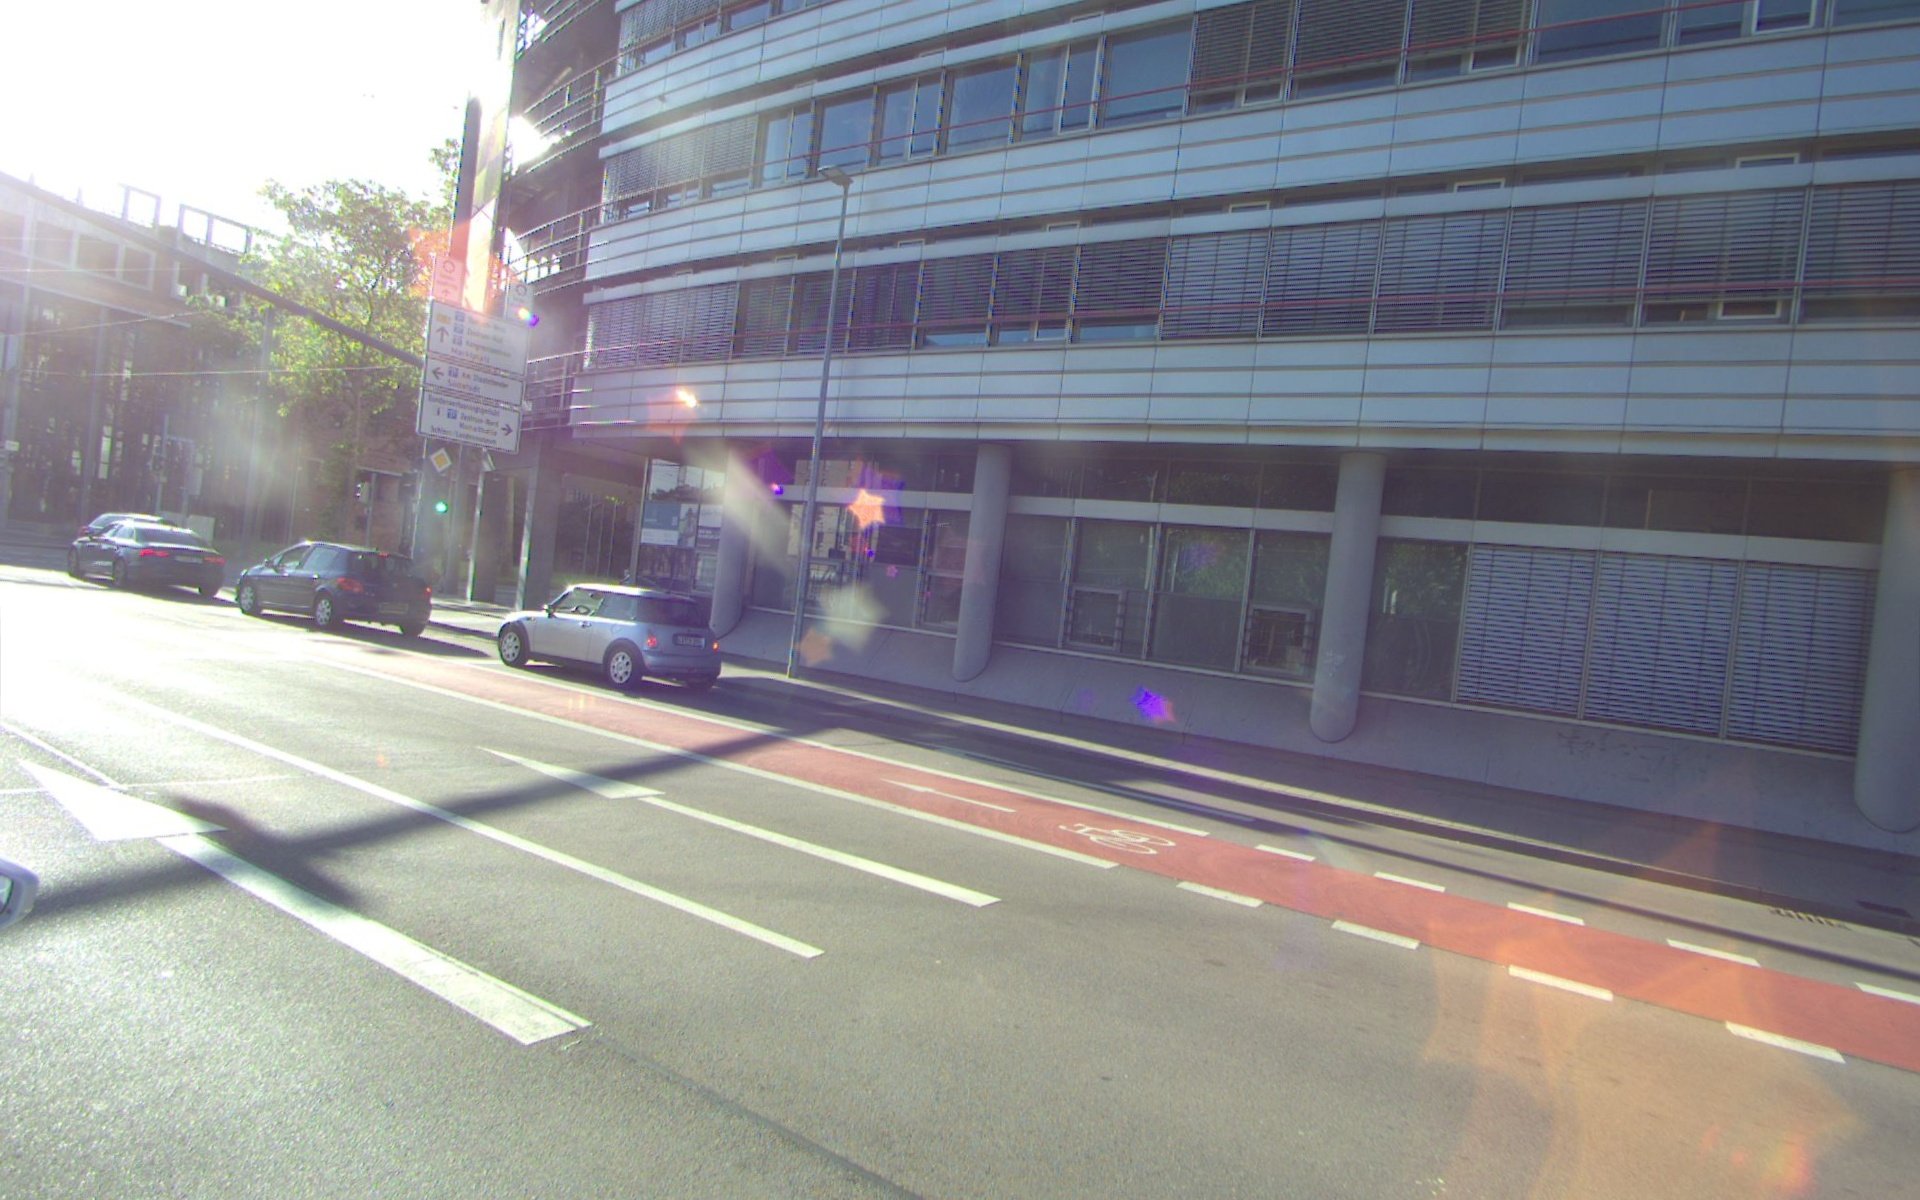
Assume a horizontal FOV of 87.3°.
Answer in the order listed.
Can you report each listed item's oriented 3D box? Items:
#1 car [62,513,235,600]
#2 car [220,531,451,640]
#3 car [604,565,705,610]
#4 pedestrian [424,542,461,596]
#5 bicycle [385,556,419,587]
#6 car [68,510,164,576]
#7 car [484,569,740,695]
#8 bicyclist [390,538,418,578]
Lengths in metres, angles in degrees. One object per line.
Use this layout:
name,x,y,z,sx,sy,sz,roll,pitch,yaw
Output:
car,-17.771,-0.961,21.994,3.953,1.457,1.697,6,-1,32
car,-11.485,-0.276,18.468,3.910,1.493,1.864,7,0,30
car,-13.628,-0.539,45.013,1.837,1.492,3.968,7,-1,33
pedestrian,-17.882,-1.076,34.792,0.578,1.754,0.790,6,-1,39
bicycle,-20.961,-1.083,37.830,0.657,1.031,2.174,8,1,-20
car,-23.120,-1.589,27.676,1.686,1.493,3.941,7,0,-37
car,-5.245,0.470,15.107,3.477,1.405,1.664,7,-1,31
bicyclist,-20.945,-1.578,37.931,0.657,1.425,0.811,7,1,-20
